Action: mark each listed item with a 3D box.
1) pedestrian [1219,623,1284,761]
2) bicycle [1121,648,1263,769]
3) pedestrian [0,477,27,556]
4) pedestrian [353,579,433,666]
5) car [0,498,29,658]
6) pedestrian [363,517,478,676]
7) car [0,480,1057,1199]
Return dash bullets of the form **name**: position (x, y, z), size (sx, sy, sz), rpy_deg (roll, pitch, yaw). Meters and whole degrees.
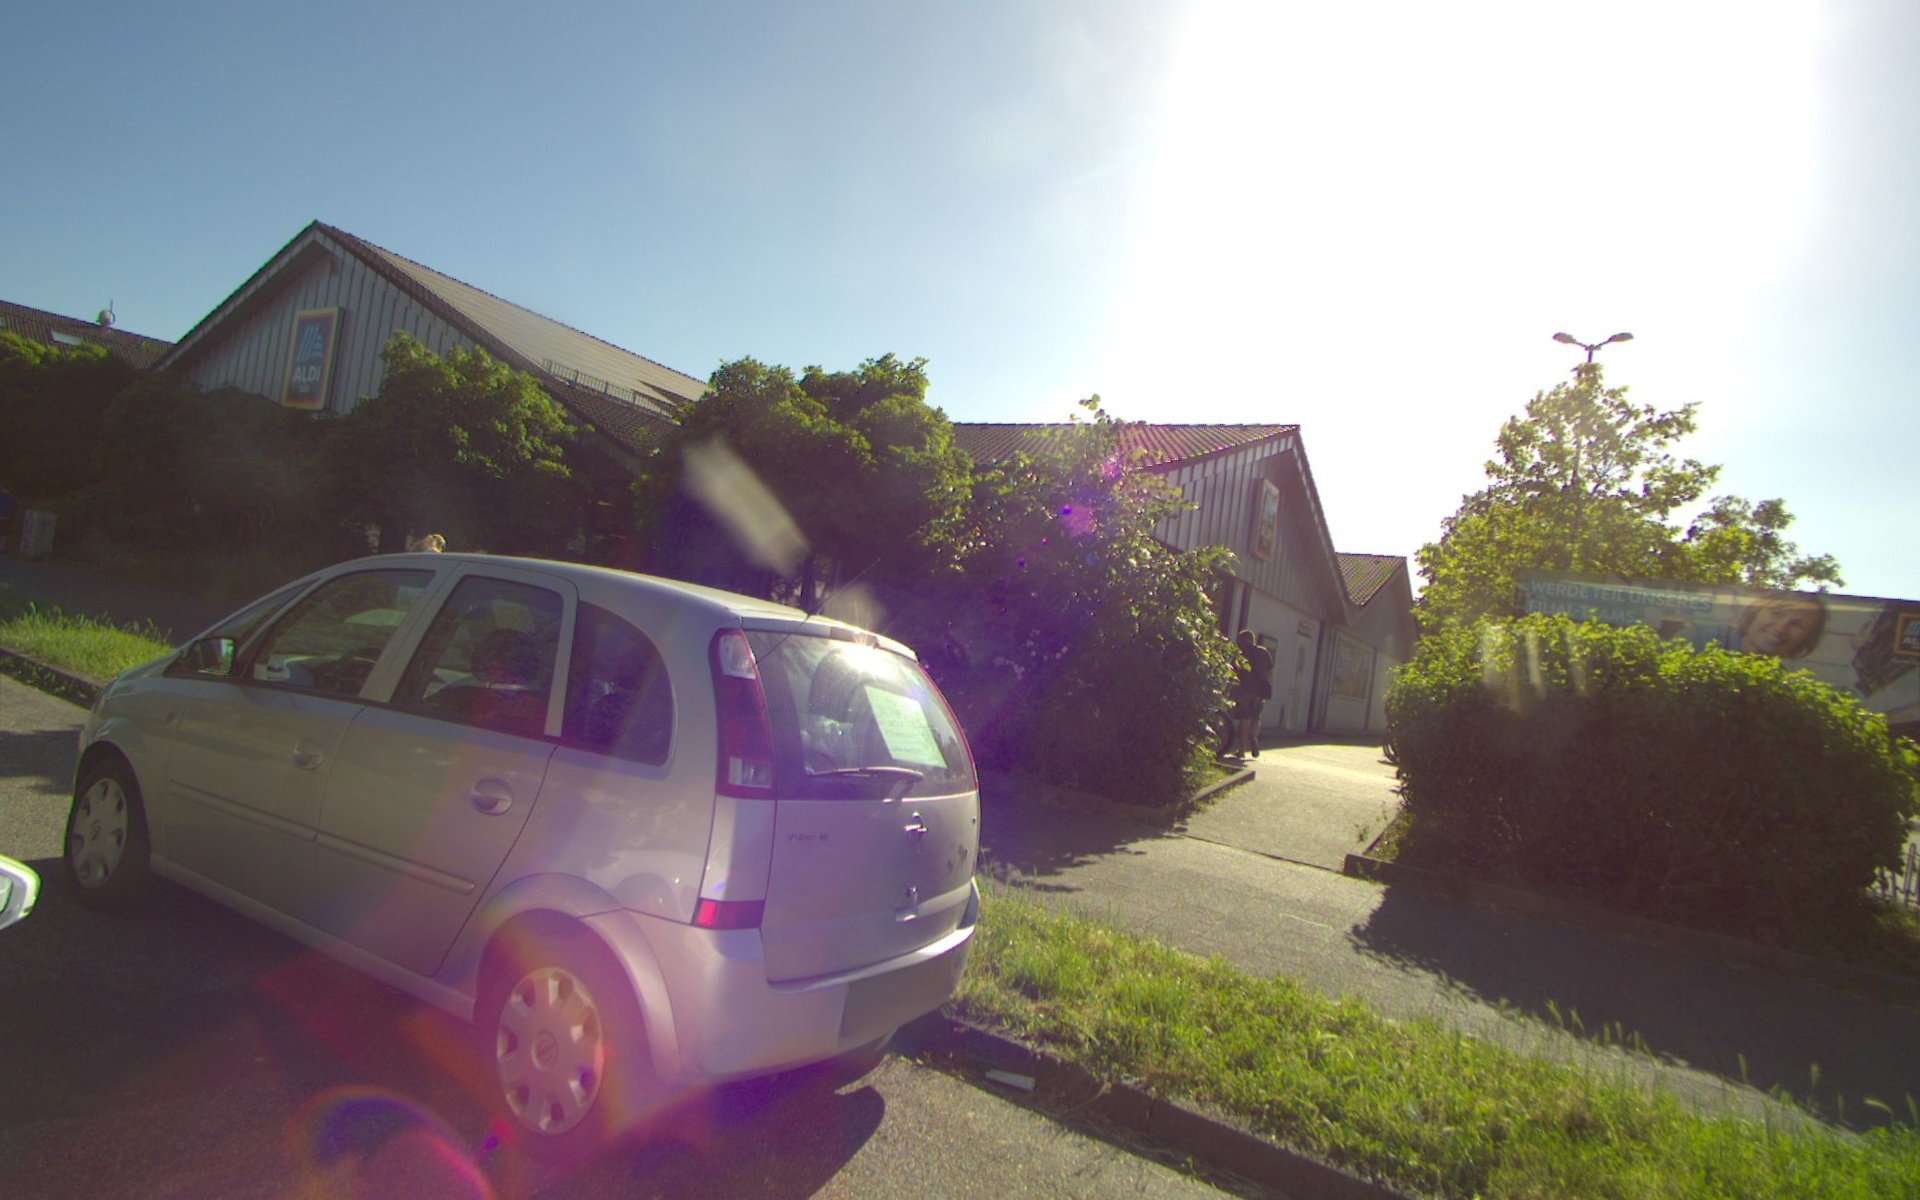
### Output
- **pedestrian**: position (4.140, 1.297, 14.338), size (0.581, 1.838, 0.882), rpy_deg (8, -1, 11)
- **bicycle**: position (2.883, 1.339, 12.599), size (1.508, 1.257, 0.562), rpy_deg (8, -1, 5)
- **pedestrian**: position (-21.091, -1.860, 22.136), size (0.538, 1.655, 0.567), rpy_deg (7, -1, 37)
- **pedestrian**: position (-7.322, 0.291, 12.997), size (0.798, 0.991, 0.532), rpy_deg (7, -2, 39)
- **car**: position (-11.038, -0.519, 9.719), size (4.291, 1.459, 1.812), rpy_deg (7, -3, 32)
- **pedestrian**: position (-6.663, -0.040, 12.427), size (0.797, 1.802, 0.798), rpy_deg (7, -1, 39)
- **car**: position (-1.855, 0.608, 4.057), size (3.959, 1.615, 1.687), rpy_deg (7, -5, 30)
